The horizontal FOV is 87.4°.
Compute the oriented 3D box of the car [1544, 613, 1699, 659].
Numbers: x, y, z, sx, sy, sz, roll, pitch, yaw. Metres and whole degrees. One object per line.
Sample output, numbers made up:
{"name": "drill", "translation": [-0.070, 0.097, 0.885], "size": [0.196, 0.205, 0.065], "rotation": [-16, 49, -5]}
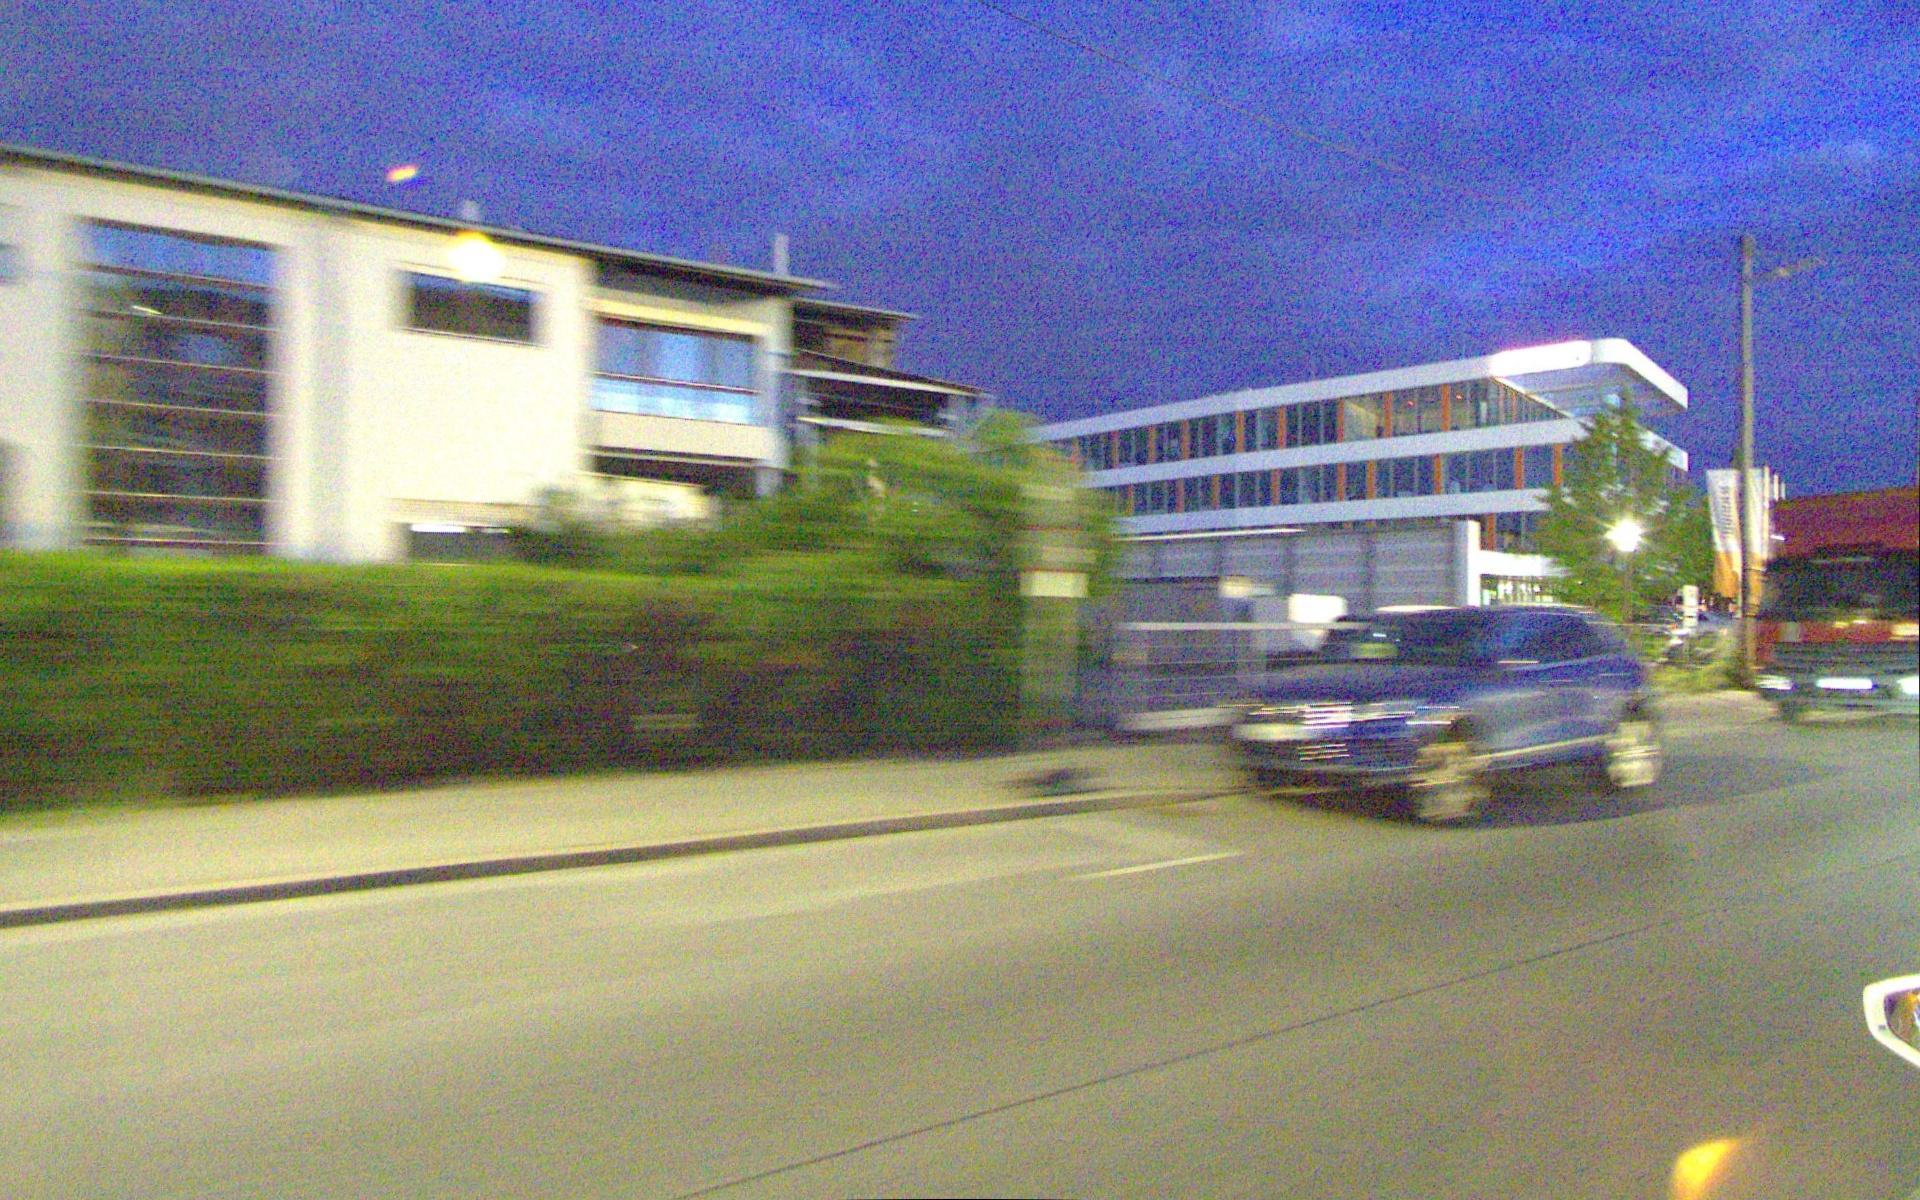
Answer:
{"name": "car", "translation": [23.705, 1.255, 36.115], "size": [1.879, 1.502, 4.361], "rotation": [1, -1, -44]}

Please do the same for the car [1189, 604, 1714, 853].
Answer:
{"name": "car", "translation": [4.655, 0.953, 9.233], "size": [5.140, 1.740, 1.933], "rotation": [1, -1, -32]}

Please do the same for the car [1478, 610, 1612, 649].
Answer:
{"name": "car", "translation": [23.546, 1.148, 40.547], "size": [1.816, 1.472, 4.361], "rotation": [1, -1, -44]}

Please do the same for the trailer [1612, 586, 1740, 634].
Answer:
{"name": "trailer", "translation": [66.767, 0.993, 93.466], "size": [14.805, 4.204, 3.047], "rotation": [1, 0, -26]}

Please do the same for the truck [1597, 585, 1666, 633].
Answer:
{"name": "truck", "translation": [60.321, 0.804, 90.231], "size": [4.871, 4.204, 3.048], "rotation": [1, 0, -26]}

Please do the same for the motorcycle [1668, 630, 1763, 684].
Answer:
{"name": "motorcycle", "translation": [17.787, 1.330, 23.679], "size": [1.660, 1.116, 0.531], "rotation": [3, 0, 24]}

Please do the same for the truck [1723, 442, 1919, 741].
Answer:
{"name": "truck", "translation": [16.660, -0.035, 17.443], "size": [9.247, 4.175, 2.755], "rotation": [1, -1, -35]}

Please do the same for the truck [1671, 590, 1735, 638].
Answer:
{"name": "truck", "translation": [63.896, 1.209, 86.396], "size": [4.455, 3.985, 3.040], "rotation": [1, 0, -33]}

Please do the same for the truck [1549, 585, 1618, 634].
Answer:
{"name": "truck", "translation": [58.000, 0.917, 93.391], "size": [5.495, 4.416, 3.046], "rotation": [1, 0, -27]}

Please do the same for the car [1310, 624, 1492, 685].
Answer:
{"name": "car", "translation": [11.474, 1.369, 26.319], "size": [1.851, 1.443, 3.985], "rotation": [1, -1, -41]}

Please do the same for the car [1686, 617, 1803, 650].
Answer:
{"name": "car", "translation": [38.539, 1.612, 49.428], "size": [1.838, 1.498, 4.361], "rotation": [1, -1, -44]}

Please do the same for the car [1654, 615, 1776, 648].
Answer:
{"name": "car", "translation": [34.362, 1.420, 45.789], "size": [1.815, 1.412, 4.225], "rotation": [1, -1, -44]}

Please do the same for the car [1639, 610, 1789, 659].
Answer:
{"name": "car", "translation": [30.079, 1.342, 40.148], "size": [1.949, 1.840, 4.563], "rotation": [1, -1, -44]}
